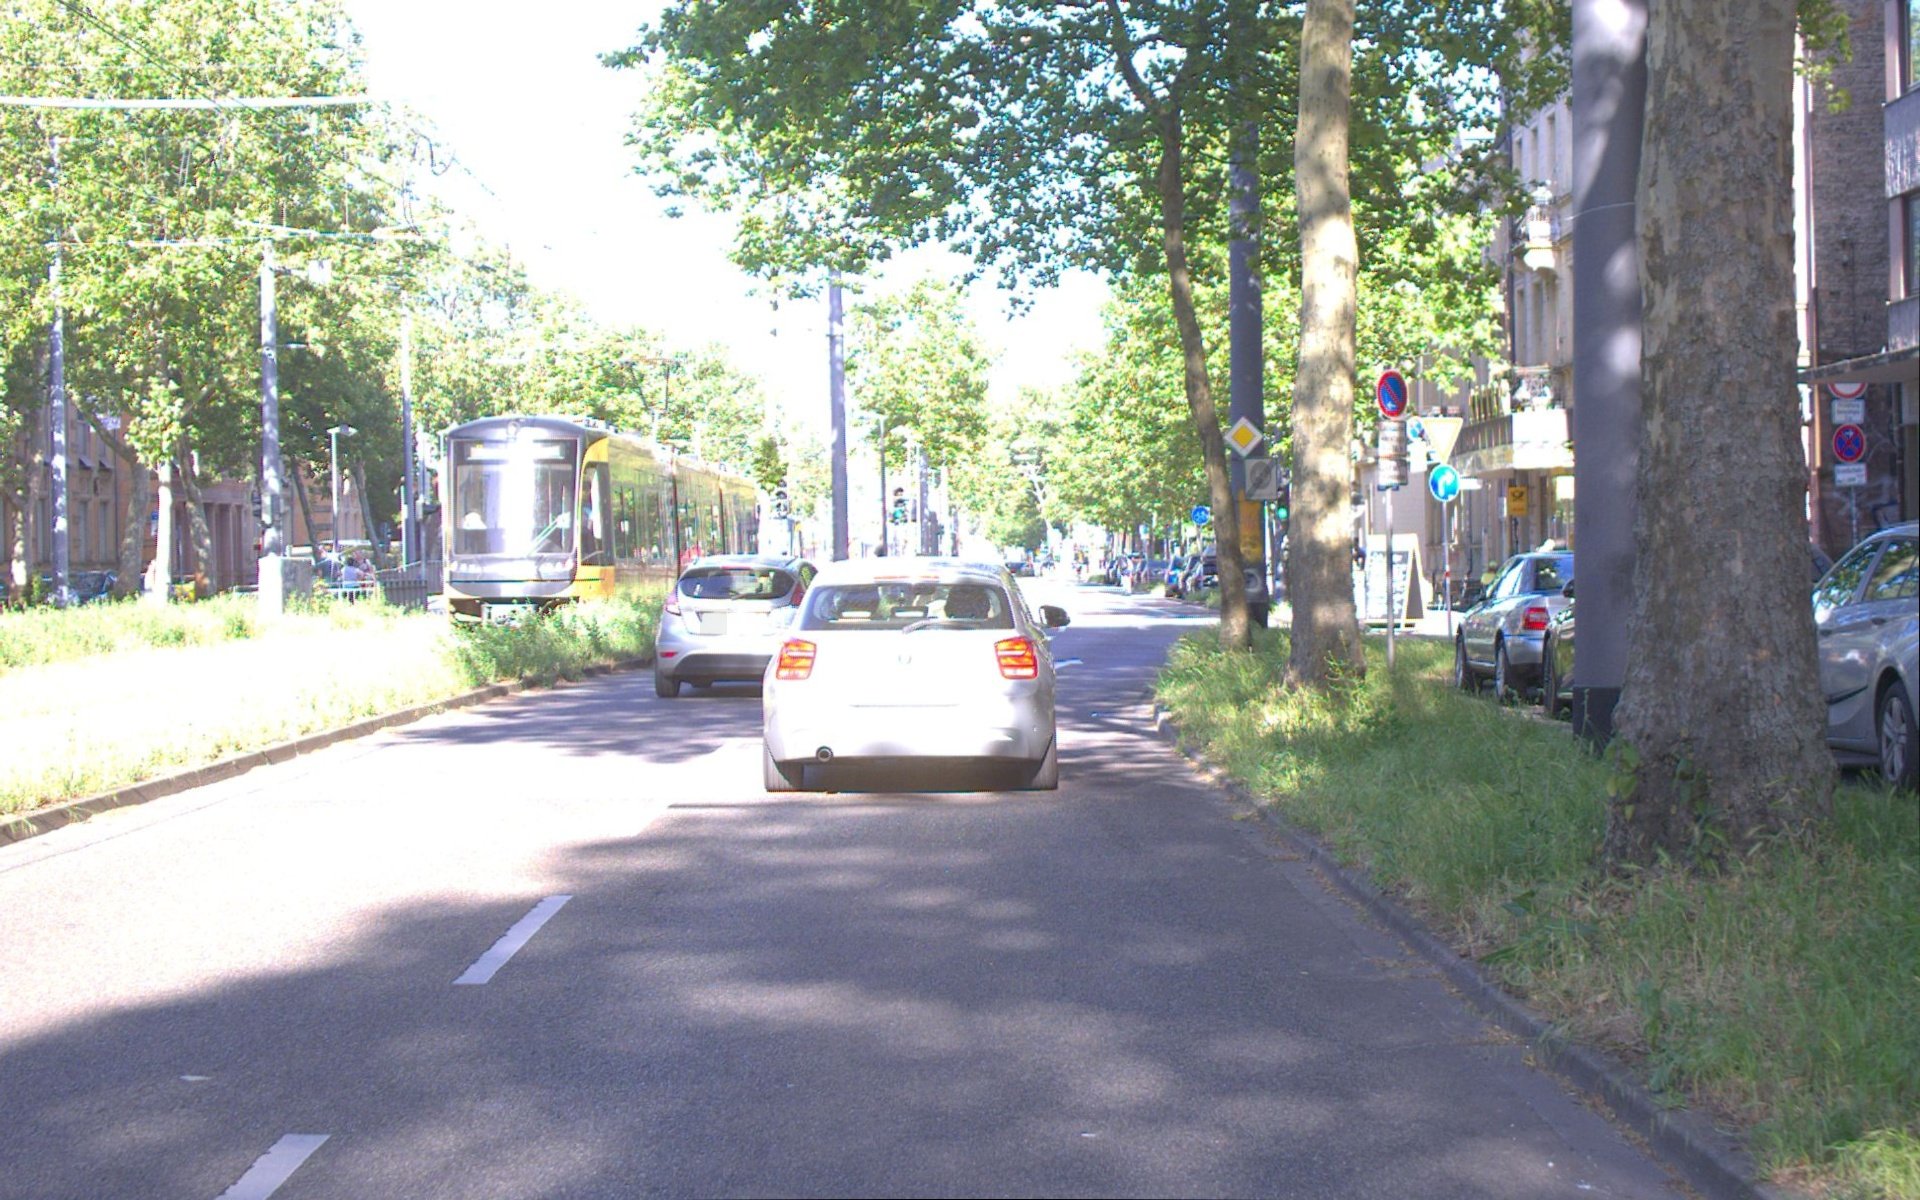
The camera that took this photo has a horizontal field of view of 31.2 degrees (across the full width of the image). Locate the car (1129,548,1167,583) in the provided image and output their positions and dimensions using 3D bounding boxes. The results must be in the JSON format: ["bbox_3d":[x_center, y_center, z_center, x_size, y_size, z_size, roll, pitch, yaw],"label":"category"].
[{"bbox_3d":[9.128,-1.687,166.833,1.669,1.546,4.000,1,2,1],"label":"car"}]

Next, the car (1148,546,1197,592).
[{"bbox_3d":[8.345,-1.236,135.381,1.692,1.652,4.039,-1,2,1],"label":"car"}]

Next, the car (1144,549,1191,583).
[{"bbox_3d":[9.738,-1.592,161.629,1.993,1.504,4.597,1,1,1],"label":"car"}]

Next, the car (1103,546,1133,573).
[{"bbox_3d":[9.565,-2.468,208.816,1.700,1.529,3.717,1,2,1],"label":"car"}]

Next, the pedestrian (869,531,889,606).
[{"bbox_3d":[-2.063,-0.793,87.338,0.450,1.896,0.585,-1,1,-6],"label":"pedestrian"}]

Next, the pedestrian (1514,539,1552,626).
[{"bbox_3d":[11.983,-0.374,71.923,0.469,1.804,0.772,2,2,32],"label":"pedestrian"}]

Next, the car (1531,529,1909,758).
[{"bbox_3d":[5.445,0.244,25.249,1.806,1.484,4.919,1,1,2],"label":"car"}]

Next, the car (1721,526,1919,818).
[{"bbox_3d":[5.646,0.338,19.252,1.677,1.461,4.670,1,1,0],"label":"car"}]

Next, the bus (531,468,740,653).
[{"bbox_3d":[-6.438,-0.829,70.202,2.869,3.432,12.215,0,1,1],"label":"bus"}]

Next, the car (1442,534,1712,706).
[{"bbox_3d":[5.734,0.135,32.451,1.700,1.419,4.517,1,2,0],"label":"car"}]

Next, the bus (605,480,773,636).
[{"bbox_3d":[-6.330,-1.020,82.178,2.869,3.432,11.611,0,1,1],"label":"bus"}]

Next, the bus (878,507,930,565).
[{"bbox_3d":[-3.579,-4.249,224.262,2.750,3.613,18.848,0,1,1],"label":"bus"}]

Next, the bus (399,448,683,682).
[{"bbox_3d":[-6.732,-0.614,57.473,2.869,3.432,13.217,0,1,1],"label":"bus"}]

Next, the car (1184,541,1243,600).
[{"bbox_3d":[8.817,-1.056,119.935,1.754,1.958,4.738,0,2,1],"label":"car"}]

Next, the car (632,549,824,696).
[{"bbox_3d":[-2.365,0.197,35.763,1.647,1.358,3.760,1,2,1],"label":"car"}]

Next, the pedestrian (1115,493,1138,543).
[{"bbox_3d":[6.728,-3.307,138.736,0.838,2.006,0.648,1,2,8],"label":"pedestrian"}]

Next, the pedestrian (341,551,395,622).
[{"bbox_3d":[-13.794,-0.325,80.182,1.176,1.638,0.893,-1,1,-6],"label":"pedestrian"}]

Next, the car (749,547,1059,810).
[{"bbox_3d":[-0.323,0.423,21.859,1.762,1.427,4.000,1,2,0],"label":"car"}]

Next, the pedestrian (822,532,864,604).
[{"bbox_3d":[-3.094,-0.853,91.286,1.072,1.909,1.127,0,1,-1],"label":"pedestrian"}]
